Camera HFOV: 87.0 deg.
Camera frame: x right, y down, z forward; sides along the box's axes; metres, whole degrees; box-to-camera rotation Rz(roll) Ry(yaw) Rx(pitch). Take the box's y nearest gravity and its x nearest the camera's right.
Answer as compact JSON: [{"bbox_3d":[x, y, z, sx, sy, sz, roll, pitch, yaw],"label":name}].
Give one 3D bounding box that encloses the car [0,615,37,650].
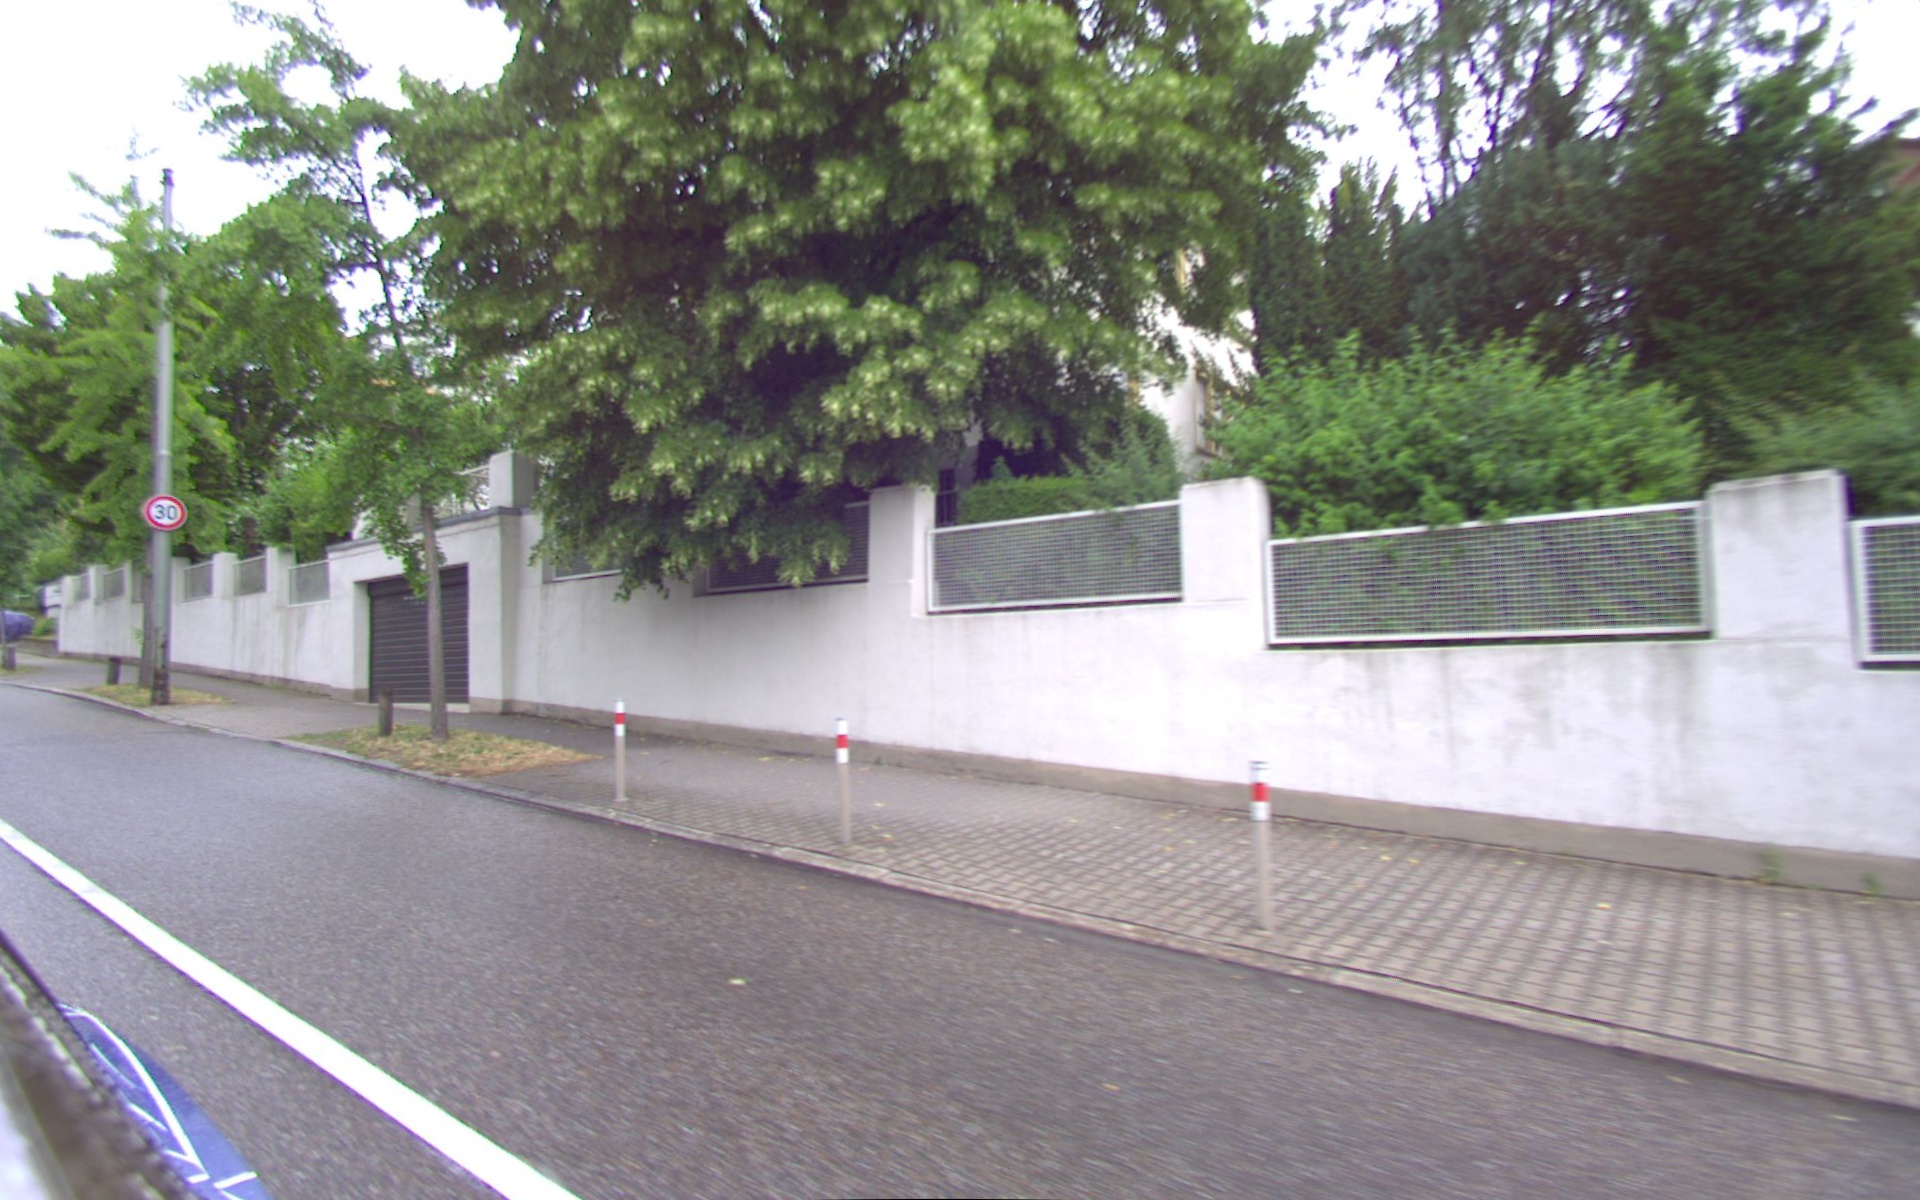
[{"bbox_3d":[-44.895,1.490,47.216,3.858,1.503,1.834,-1,-6,36],"label":"car"}]
